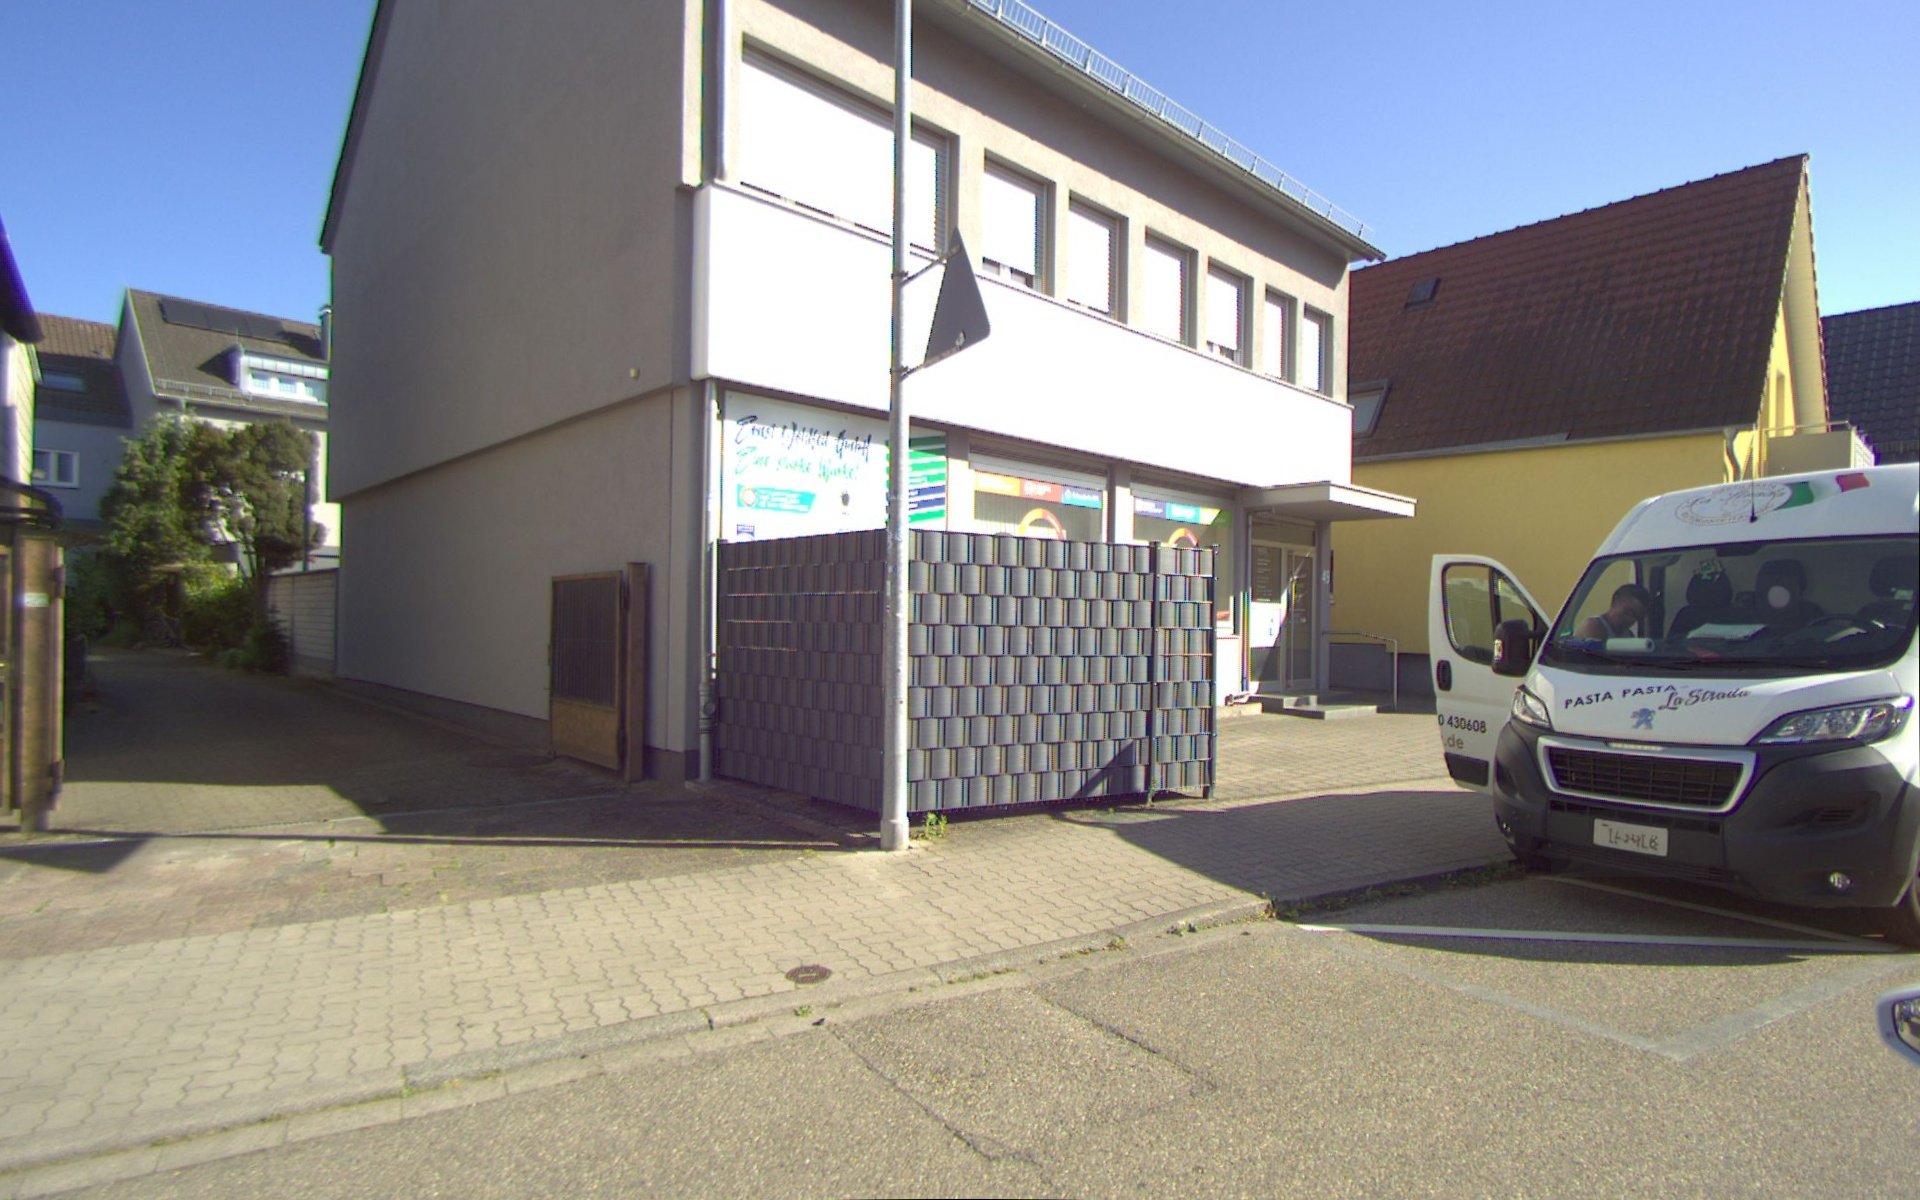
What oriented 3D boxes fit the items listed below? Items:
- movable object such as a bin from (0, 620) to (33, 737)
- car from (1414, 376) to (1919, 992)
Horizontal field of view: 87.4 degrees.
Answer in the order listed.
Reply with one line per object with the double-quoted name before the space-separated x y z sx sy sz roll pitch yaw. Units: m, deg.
"movable object such as a bin" -9.832 0.790 10.288 0.455 1.175 0.487 1 -1 -40
"car" 5.620 0.404 6.478 5.453 2.503 2.241 1 -2 -31
